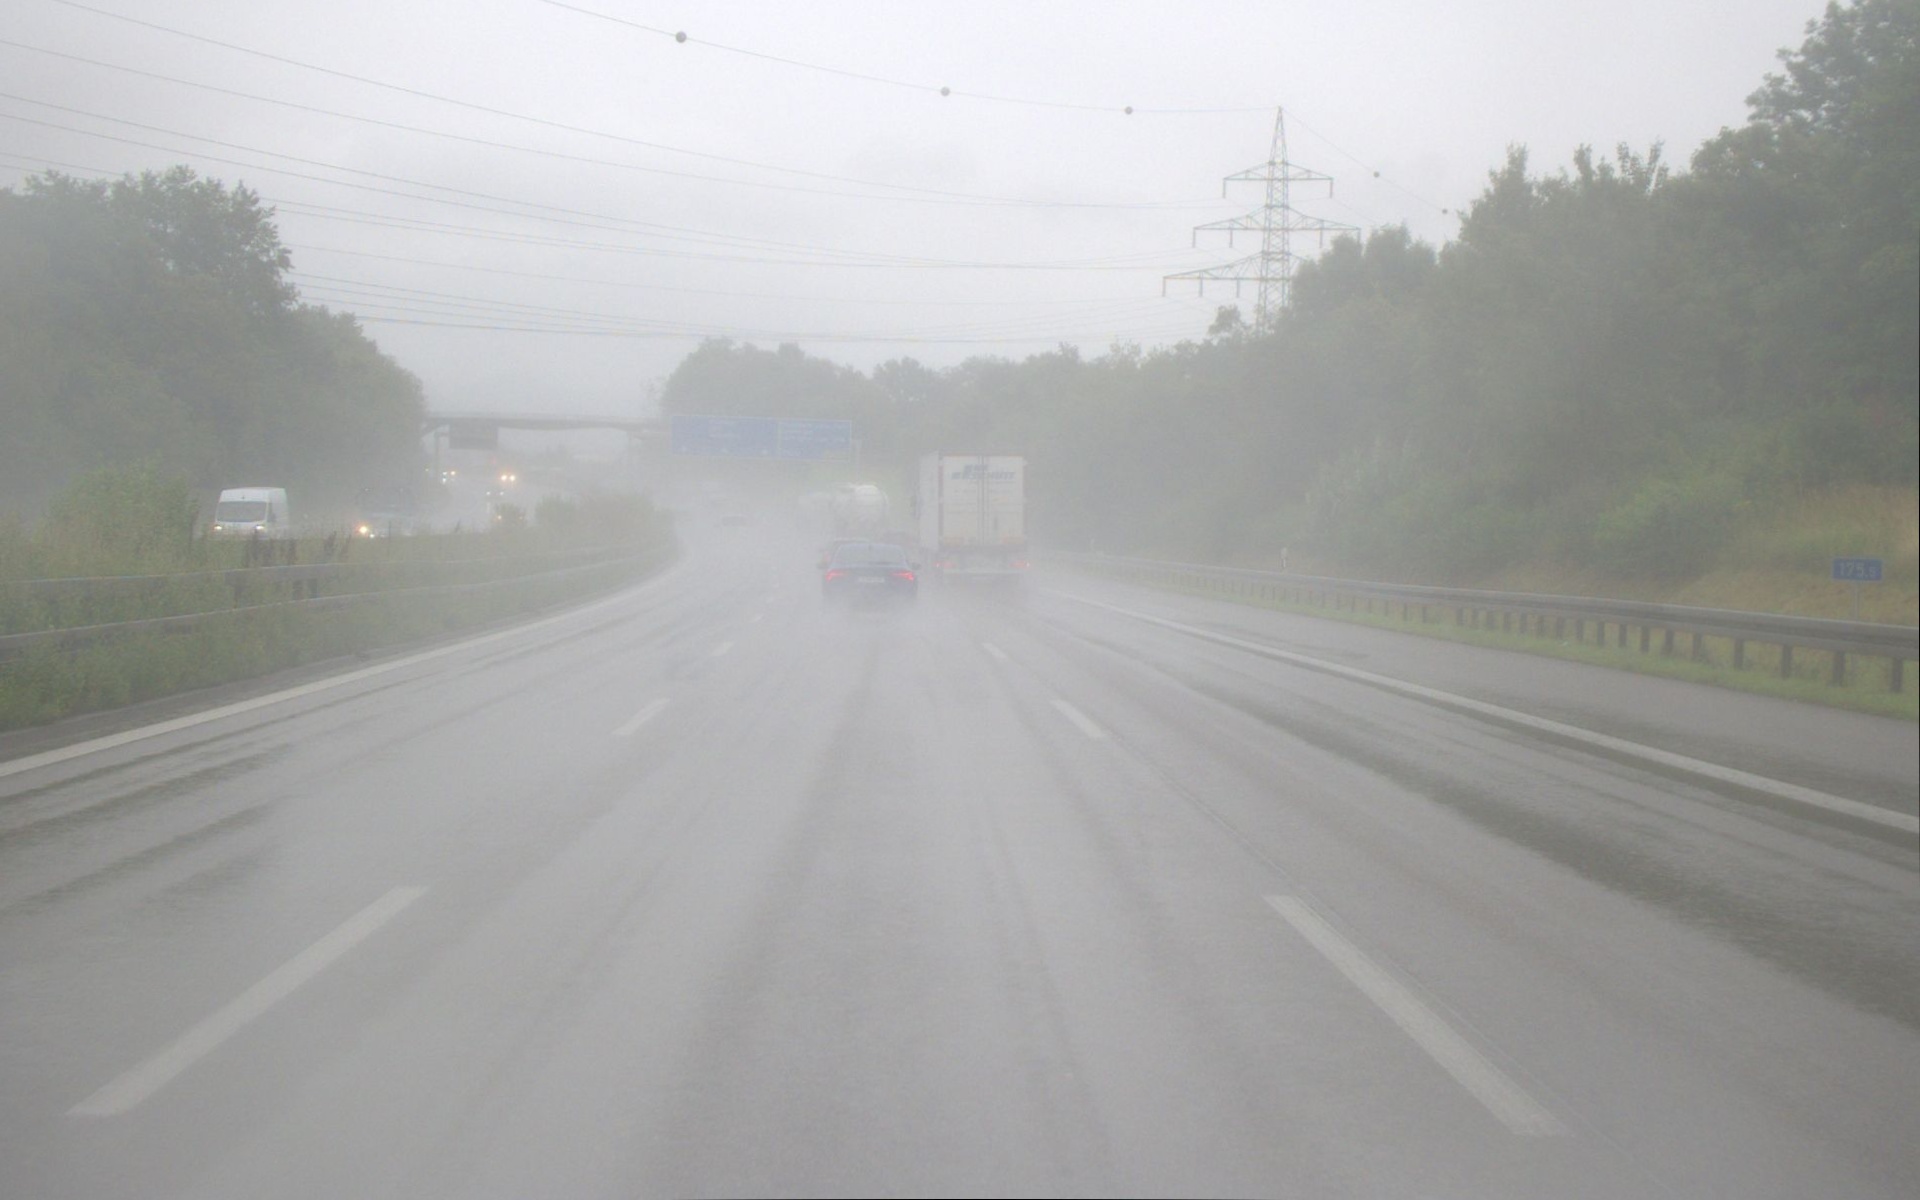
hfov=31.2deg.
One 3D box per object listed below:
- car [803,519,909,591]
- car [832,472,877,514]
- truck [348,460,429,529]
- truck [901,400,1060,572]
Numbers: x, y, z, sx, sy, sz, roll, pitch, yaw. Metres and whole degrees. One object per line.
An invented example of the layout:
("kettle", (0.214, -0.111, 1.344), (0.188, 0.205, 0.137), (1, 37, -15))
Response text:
("car", (-1.921, -0.868, 64.678), (1.749, 1.208, 4.000), (3, 1, 1))
("car", (-5.947, -6.028, 193.649), (2.393, 2.264, 5.003), (2, 2, -3))
("truck", (-29.423, -5.437, 177.383), (3.068, 3.265, 7.393), (4, 1, -3))
("truck", (0.854, -3.537, 108.144), (4.257, 4.955, 17.340), (0, 2, 3))
